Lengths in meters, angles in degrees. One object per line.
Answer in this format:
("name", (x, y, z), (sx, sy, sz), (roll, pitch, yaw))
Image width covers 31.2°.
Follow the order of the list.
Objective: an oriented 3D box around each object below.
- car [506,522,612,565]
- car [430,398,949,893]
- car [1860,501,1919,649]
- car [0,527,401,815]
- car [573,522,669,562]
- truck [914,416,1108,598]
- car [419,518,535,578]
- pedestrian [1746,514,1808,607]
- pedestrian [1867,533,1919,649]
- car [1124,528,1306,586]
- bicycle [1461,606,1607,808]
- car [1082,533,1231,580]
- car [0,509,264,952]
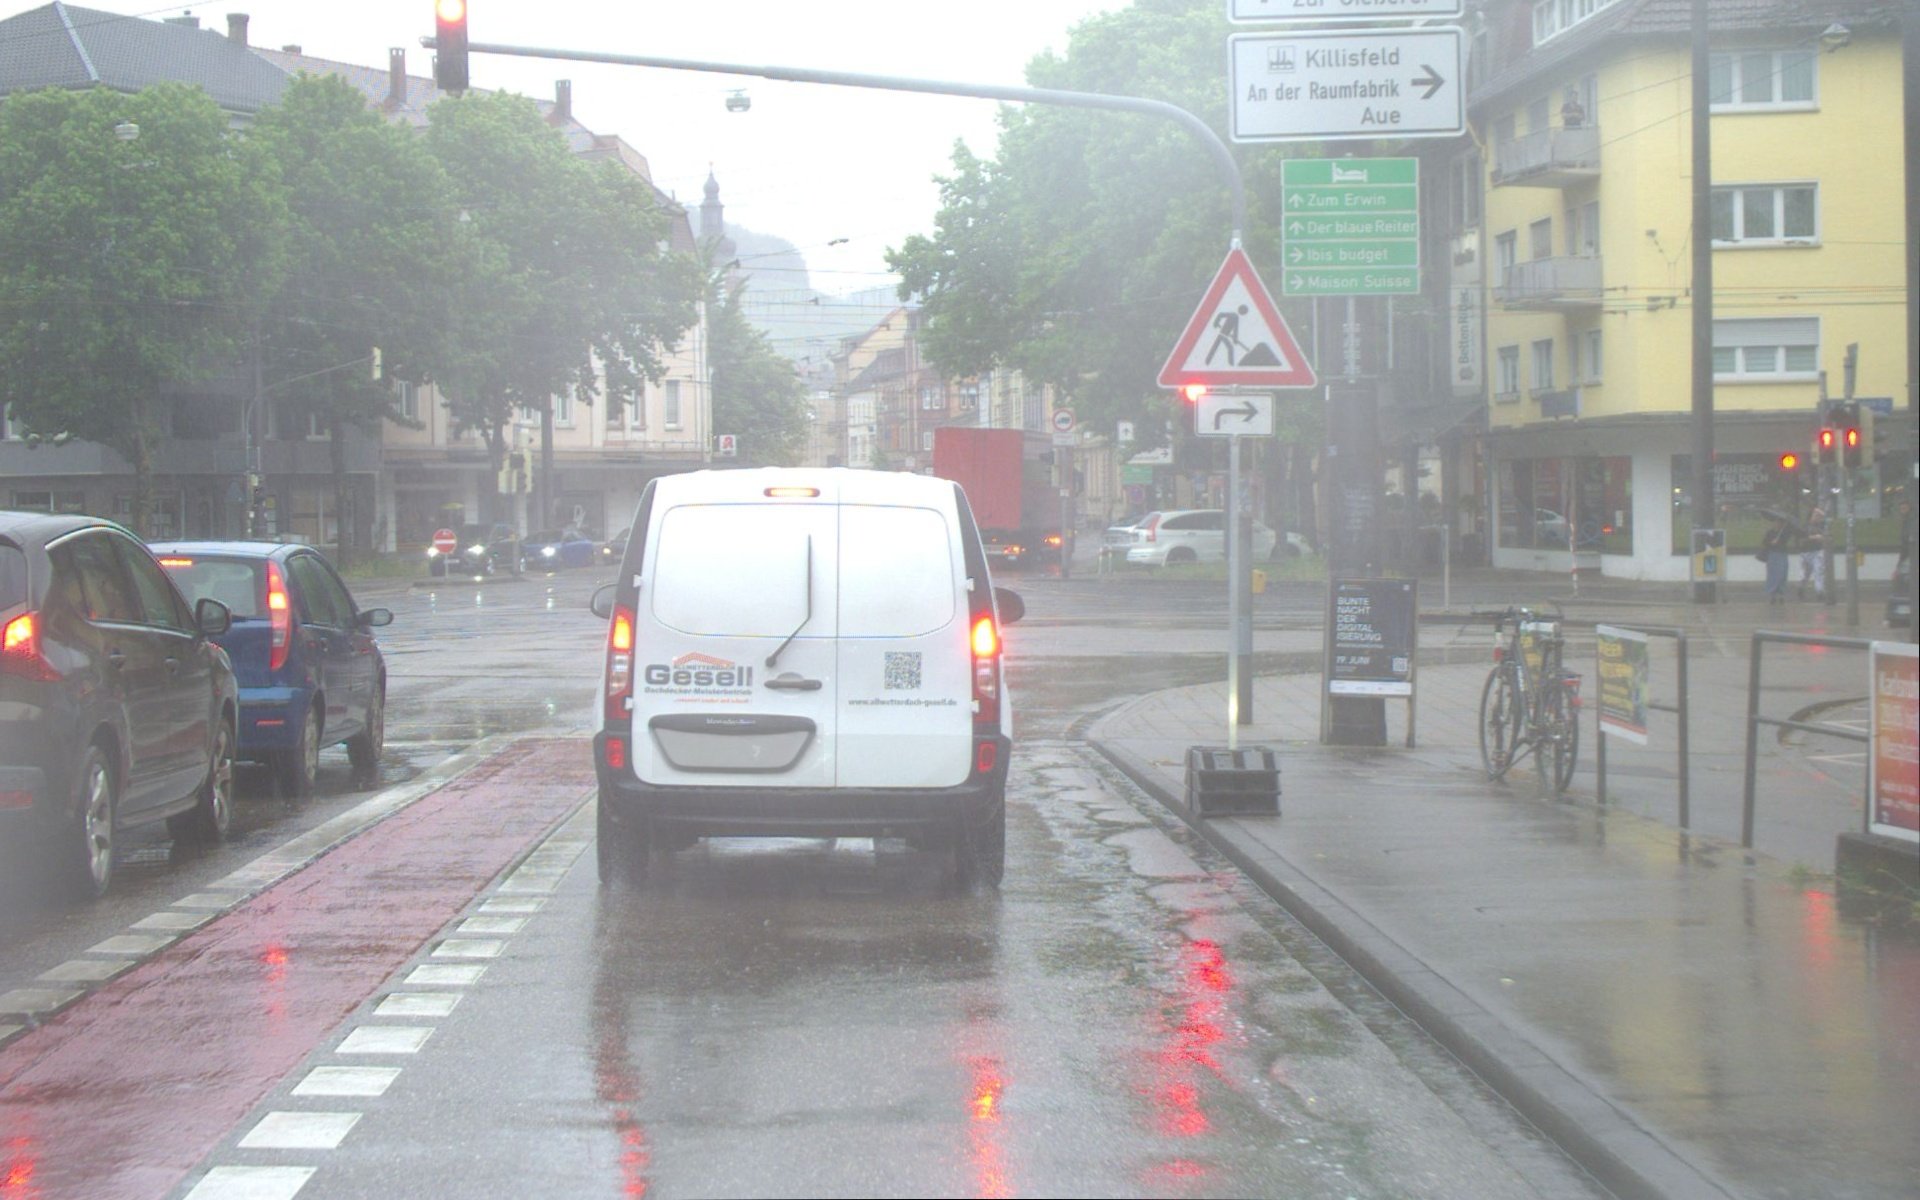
("car", (-12.701, -1.816, 109.175), (1.952, 1.235, 3.998), (0, 3, 16))
("car", (-1.157, 0.148, 16.471), (2.100, 2.005, 4.963), (0, 1, -1))
("car", (13.877, -0.322, 44.200), (3.986, 1.859, 2.000), (0, 1, -5))
("car", (-4.516, 0.355, 20.779), (1.727, 1.573, 3.821), (0, 1, -1))
("car", (-11.551, -1.988, 117.305), (1.952, 1.235, 3.998), (0, 3, 16))
("truck", (1.745, -2.738, 103.657), (3.471, 5.070, 15.301), (1, 1, 10))
("car", (-14.462, -1.580, 103.113), (1.952, 1.602, 3.998), (3, 3, 16))
("pedestrian", (13.593, -0.663, 57.198), (0.814, 1.528, 0.622), (0, 1, -39))
("pedestrian", (13.705, -0.138, 49.781), (0.905, 1.663, 1.018), (1, 1, 26))
("car", (6.148, -1.056, 83.132), (4.165, 1.334, 1.521), (-1, 2, -8))
("bicycle", (3.503, 0.629, 21.120), (0.514, 1.103, 2.017), (3, 1, 0))
("car", (4.841, -1.071, 84.906), (3.441, 1.126, 1.472), (0, 1, -9))
("car", (-4.326, 0.444, 14.952), (1.834, 1.662, 4.173), (0, 1, -1))
